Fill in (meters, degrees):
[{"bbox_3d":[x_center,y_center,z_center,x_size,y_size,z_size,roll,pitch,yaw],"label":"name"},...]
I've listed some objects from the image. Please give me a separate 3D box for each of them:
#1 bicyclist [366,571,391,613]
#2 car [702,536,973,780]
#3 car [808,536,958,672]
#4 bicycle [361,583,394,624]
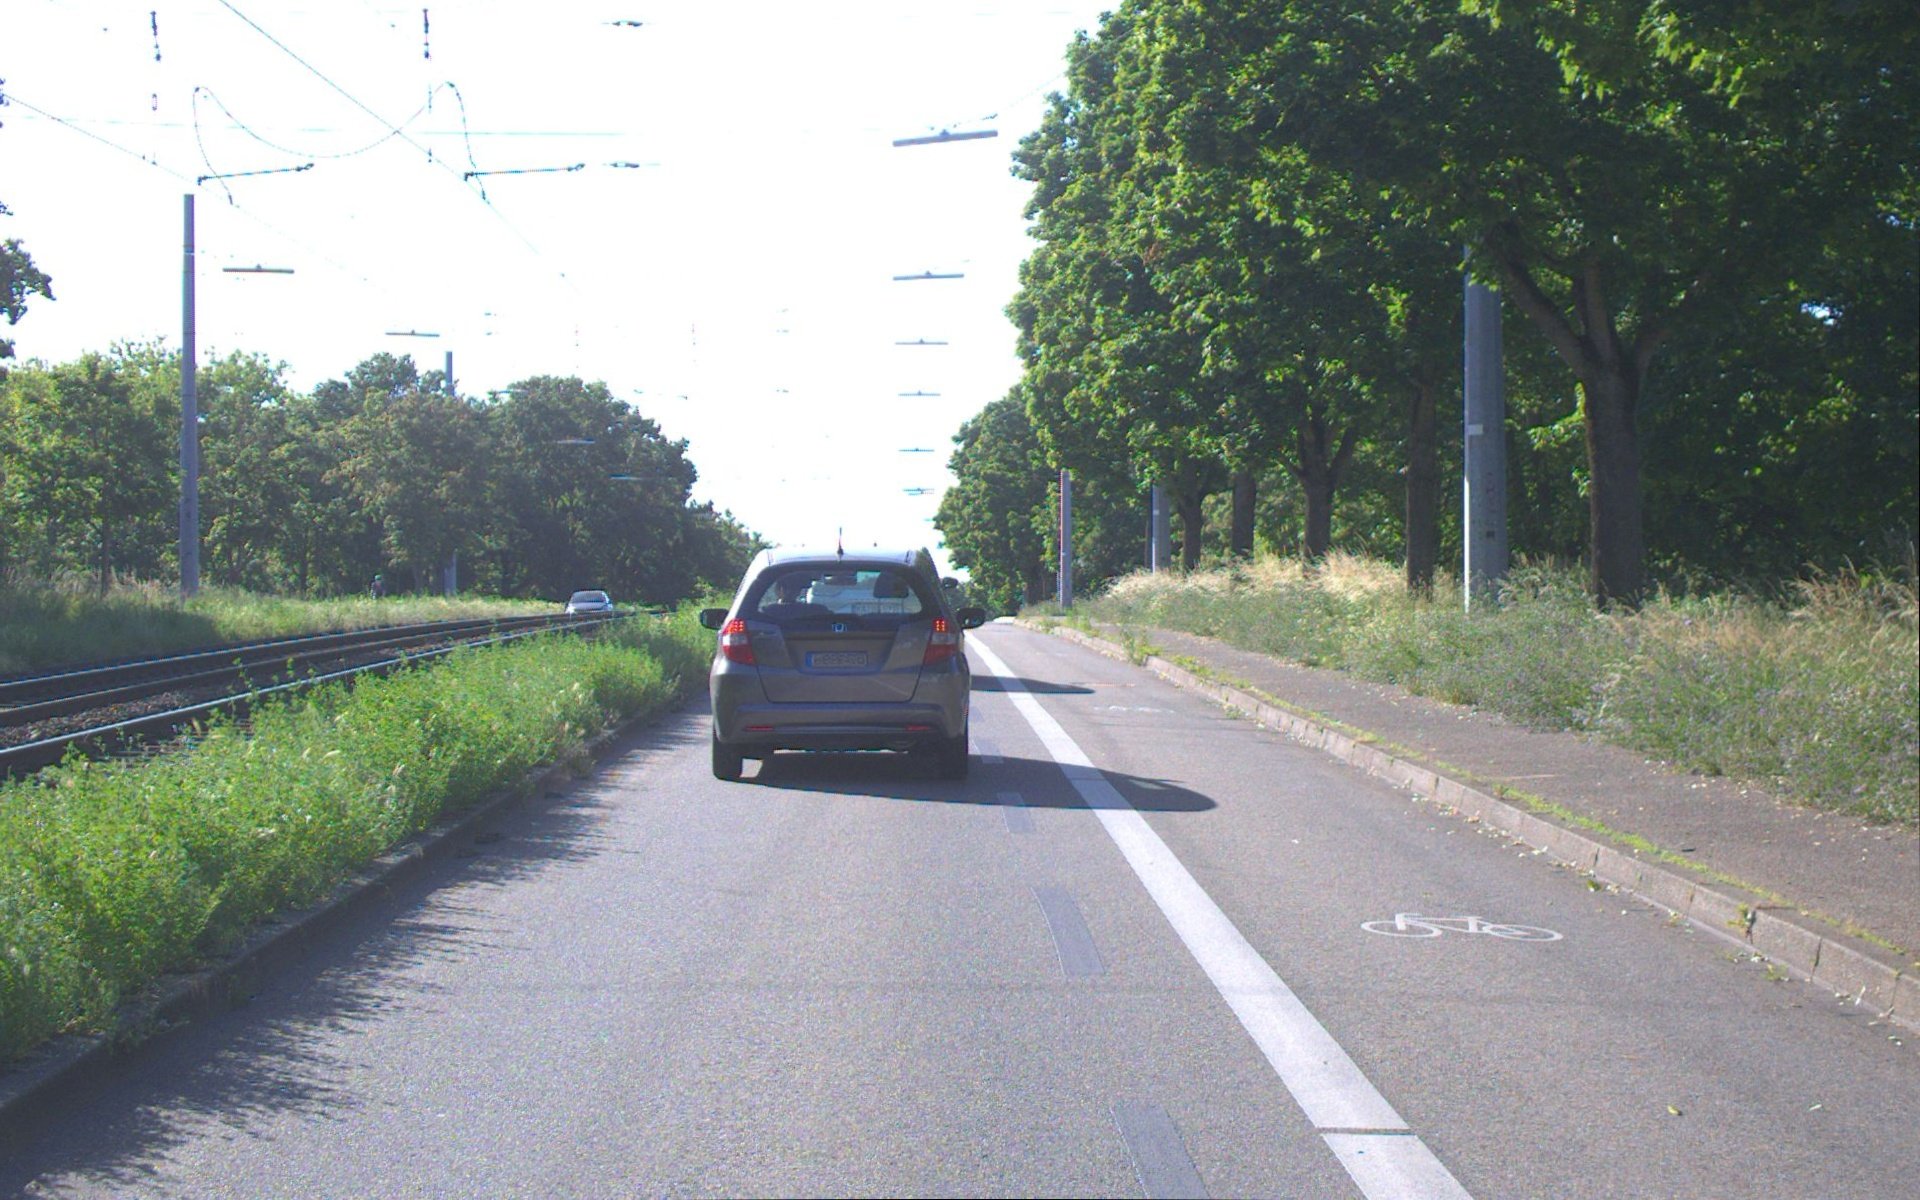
[{"bbox_3d":[-18.286,-0.256,108.122,0.582,1.306,0.987,1,1,0],"label":"bicyclist"},{"bbox_3d":[-0.830,0.338,23.501,1.670,1.502,3.811,1,1,-2],"label":"car"},{"bbox_3d":[-0.868,0.019,40.553,1.654,1.502,3.811,1,1,0],"label":"car"},{"bbox_3d":[-18.300,0.102,108.031,0.590,1.257,2.427,1,1,0],"label":"bicycle"}]
